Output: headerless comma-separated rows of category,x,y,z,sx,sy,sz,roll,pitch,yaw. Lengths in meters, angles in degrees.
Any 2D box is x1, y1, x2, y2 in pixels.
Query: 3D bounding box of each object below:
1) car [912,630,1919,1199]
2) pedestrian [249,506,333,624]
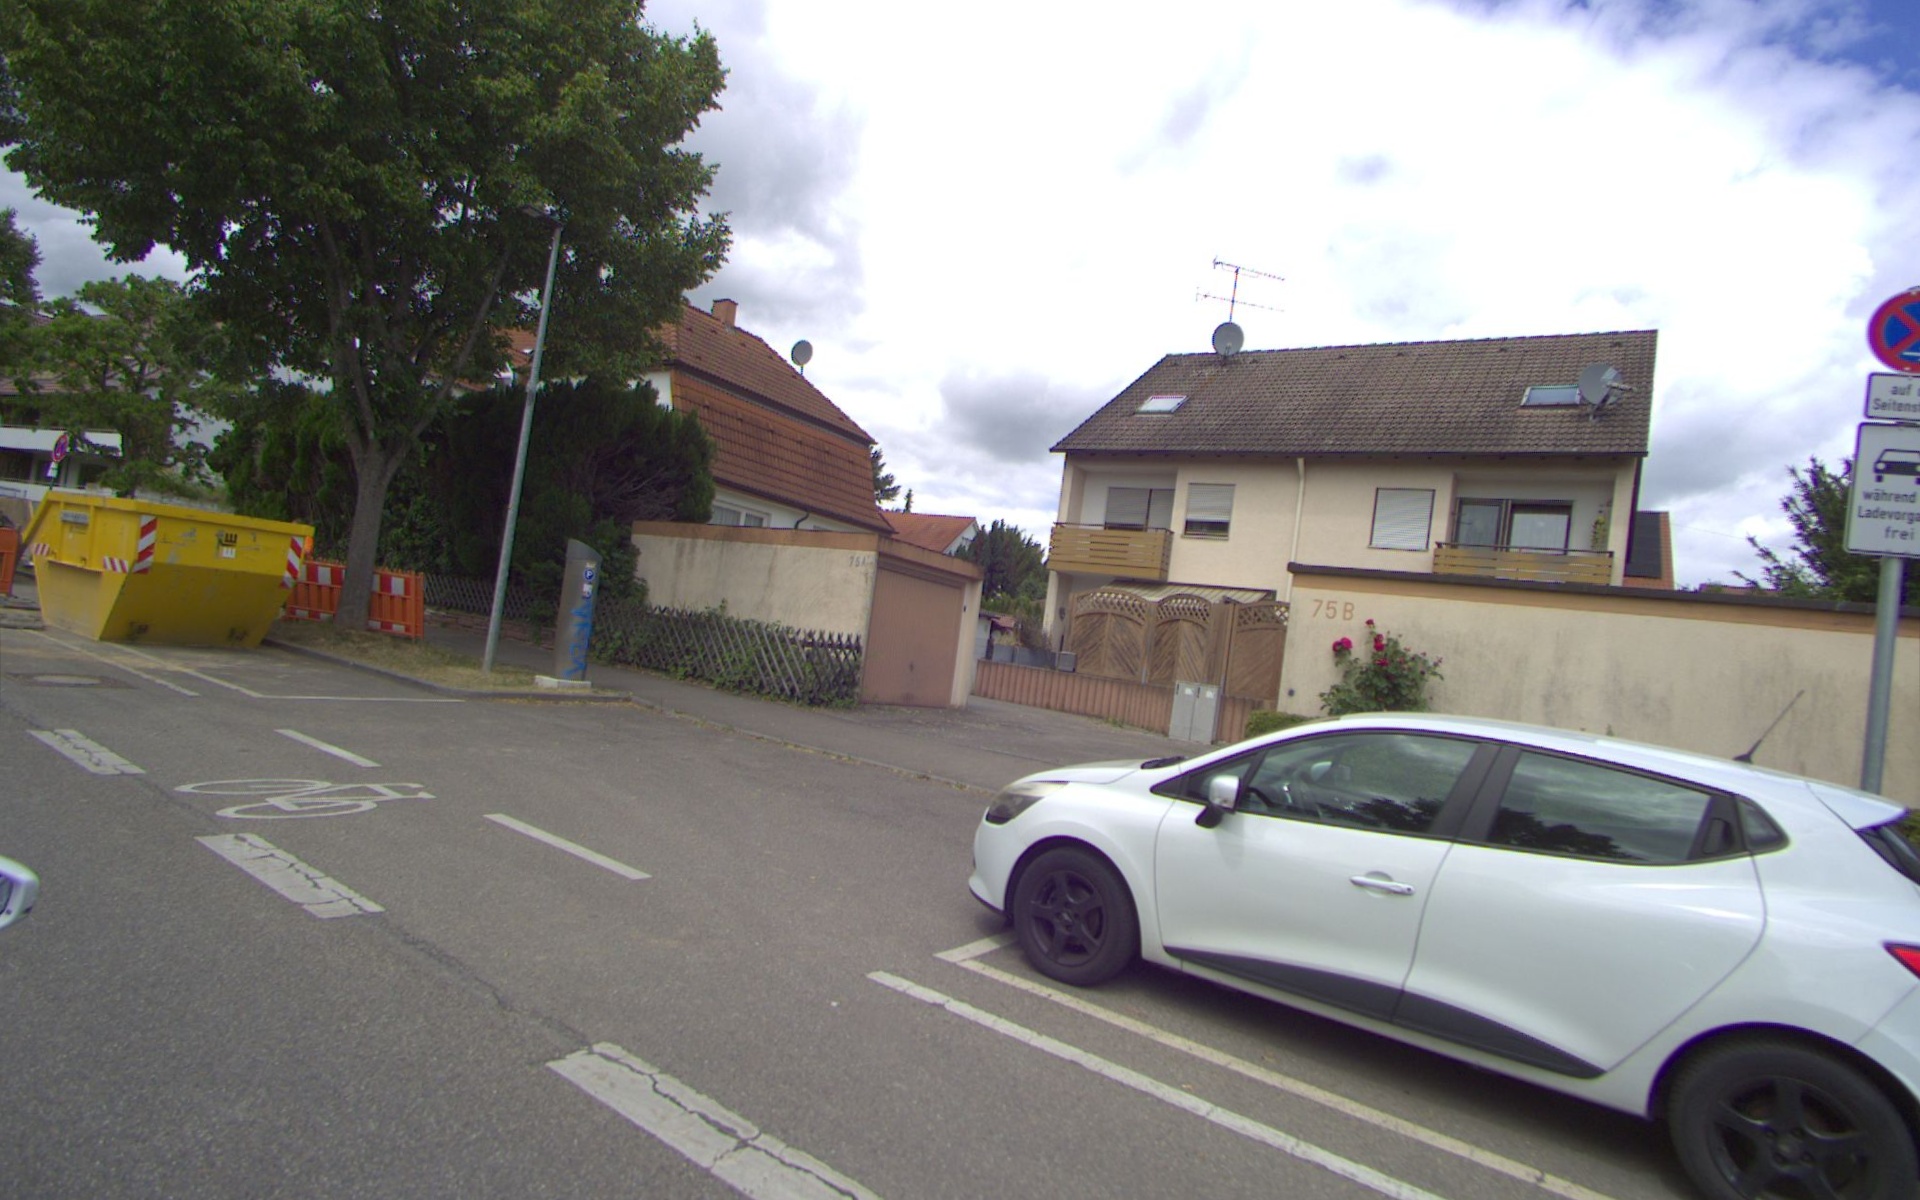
car,1.915,1.155,4.538,3.937,1.479,1.674,7,-2,36
pedestrian,-10.113,-0.527,15.218,0.633,1.653,0.705,7,-1,35
